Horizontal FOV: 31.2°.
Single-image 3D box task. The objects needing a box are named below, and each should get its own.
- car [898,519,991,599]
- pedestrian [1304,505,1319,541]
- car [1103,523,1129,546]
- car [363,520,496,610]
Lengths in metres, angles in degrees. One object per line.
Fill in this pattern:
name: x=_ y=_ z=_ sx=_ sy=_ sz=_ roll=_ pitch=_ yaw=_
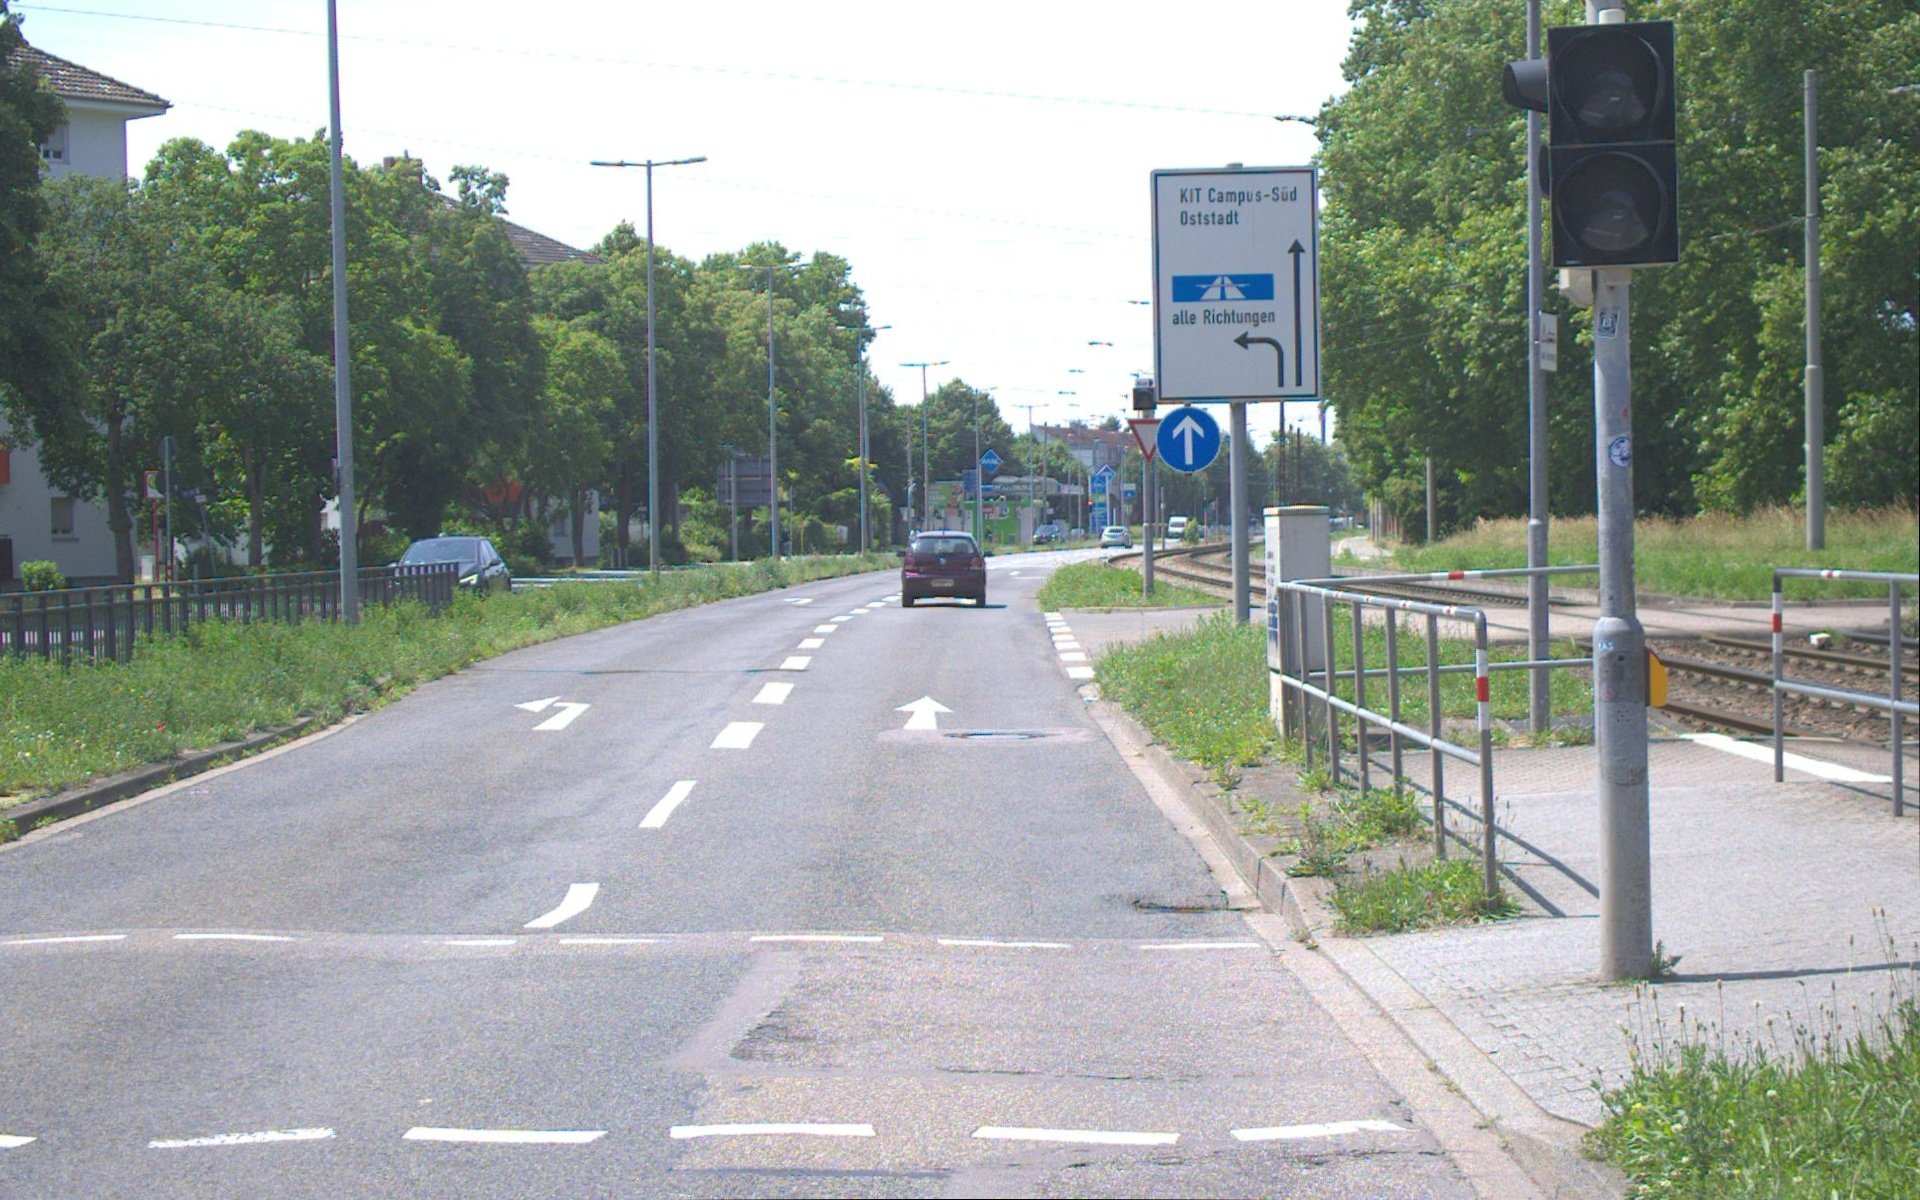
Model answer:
car: x=-0.280 y=-0.803 z=67.243 sx=1.703 sy=1.472 sz=3.716 roll=-2 pitch=1 yaw=1
pedestrian: x=17.051 y=-3.737 z=166.677 sx=0.662 sy=1.720 sz=0.816 roll=-1 pitch=1 yaw=7
car: x=10.519 y=-4.430 z=232.397 sx=1.703 sy=1.475 sz=3.716 roll=1 pitch=1 yaw=2
car: x=-9.635 y=-0.670 z=62.691 sx=1.756 sy=1.538 sz=4.161 roll=-1 pitch=1 yaw=0
